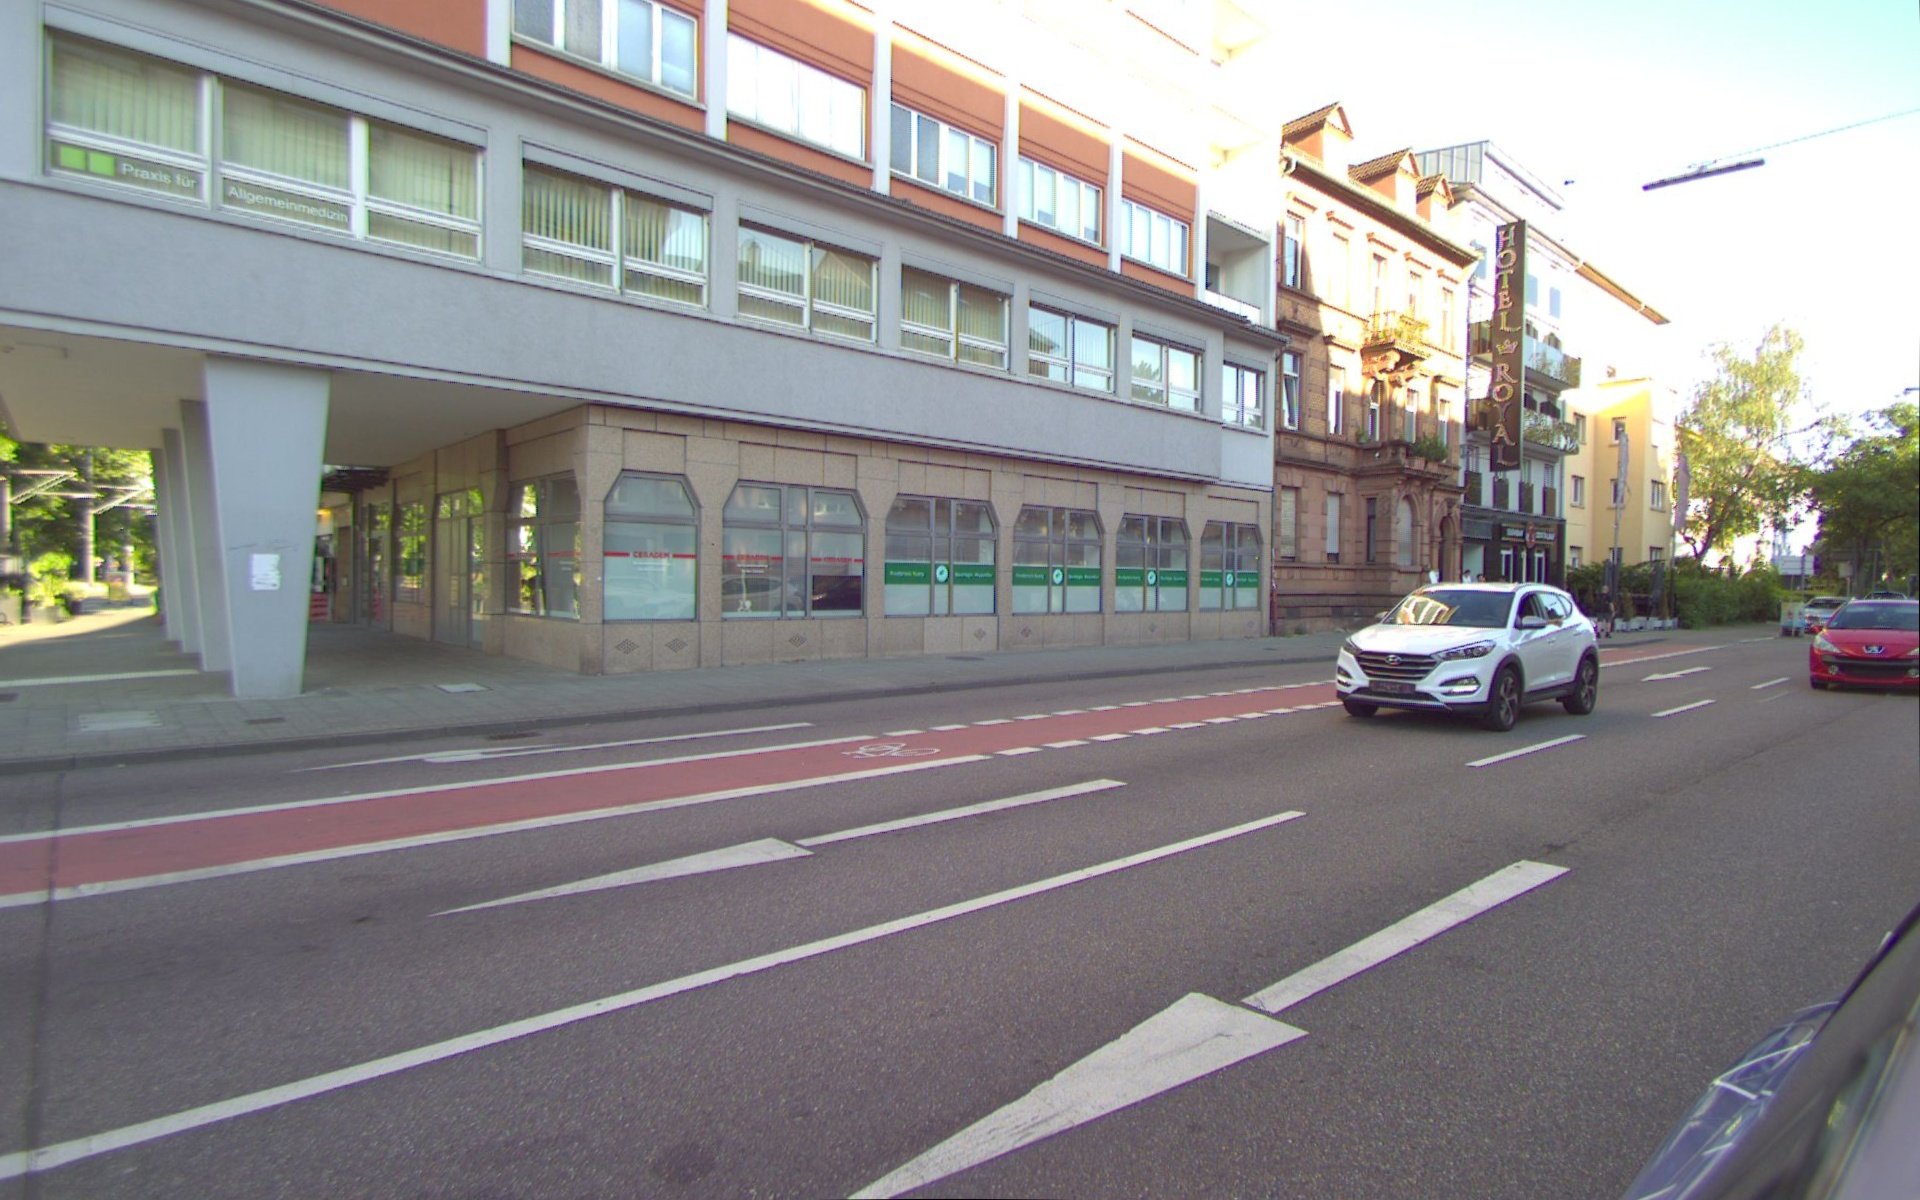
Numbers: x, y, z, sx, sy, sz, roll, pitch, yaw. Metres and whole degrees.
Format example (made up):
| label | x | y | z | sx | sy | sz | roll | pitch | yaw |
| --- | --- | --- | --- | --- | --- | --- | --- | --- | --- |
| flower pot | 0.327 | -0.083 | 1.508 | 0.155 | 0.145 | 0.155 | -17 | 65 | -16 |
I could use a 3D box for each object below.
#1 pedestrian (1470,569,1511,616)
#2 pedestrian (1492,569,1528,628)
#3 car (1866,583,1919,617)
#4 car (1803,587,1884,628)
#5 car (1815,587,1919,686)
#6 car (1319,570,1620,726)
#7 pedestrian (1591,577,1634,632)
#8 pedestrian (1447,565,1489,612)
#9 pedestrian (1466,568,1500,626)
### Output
| label | x | y | z | sx | sy | sz | roll | pitch | yaw |
| --- | --- | --- | --- | --- | --- | --- | --- | --- | --- |
| pedestrian | 19.257 | -0.295 | 36.782 | 0.723 | 1.606 | 1.014 | 2 | 4 | -11 |
| pedestrian | 16.547 | -0.052 | 30.429 | 0.994 | 1.747 | 0.667 | 0 | 1 | -44 |
| car | 47.496 | -0.024 | 51.228 | 4.121 | 1.645 | 1.946 | 0 | 1 | -42 |
| car | 35.673 | 0.254 | 40.818 | 4.003 | 1.536 | 1.905 | 0 | 1 | -41 |
| car | 15.747 | 0.535 | 16.884 | 3.930 | 1.481 | 1.673 | -1 | 0 | -41 |
| car | 6.454 | 0.473 | 12.627 | 4.195 | 1.627 | 1.920 | -1 | 0 | -41 |
| pedestrian | 20.239 | 0.131 | 31.384 | 0.992 | 1.621 | 0.739 | 0 | 4 | -37 |
| pedestrian | 18.453 | -0.427 | 36.796 | 0.771 | 1.606 | 1.014 | 2 | 4 | -11 |
| pedestrian | 16.025 | -0.110 | 31.015 | 0.666 | 1.747 | 0.995 | 2 | 1 | 43 |
